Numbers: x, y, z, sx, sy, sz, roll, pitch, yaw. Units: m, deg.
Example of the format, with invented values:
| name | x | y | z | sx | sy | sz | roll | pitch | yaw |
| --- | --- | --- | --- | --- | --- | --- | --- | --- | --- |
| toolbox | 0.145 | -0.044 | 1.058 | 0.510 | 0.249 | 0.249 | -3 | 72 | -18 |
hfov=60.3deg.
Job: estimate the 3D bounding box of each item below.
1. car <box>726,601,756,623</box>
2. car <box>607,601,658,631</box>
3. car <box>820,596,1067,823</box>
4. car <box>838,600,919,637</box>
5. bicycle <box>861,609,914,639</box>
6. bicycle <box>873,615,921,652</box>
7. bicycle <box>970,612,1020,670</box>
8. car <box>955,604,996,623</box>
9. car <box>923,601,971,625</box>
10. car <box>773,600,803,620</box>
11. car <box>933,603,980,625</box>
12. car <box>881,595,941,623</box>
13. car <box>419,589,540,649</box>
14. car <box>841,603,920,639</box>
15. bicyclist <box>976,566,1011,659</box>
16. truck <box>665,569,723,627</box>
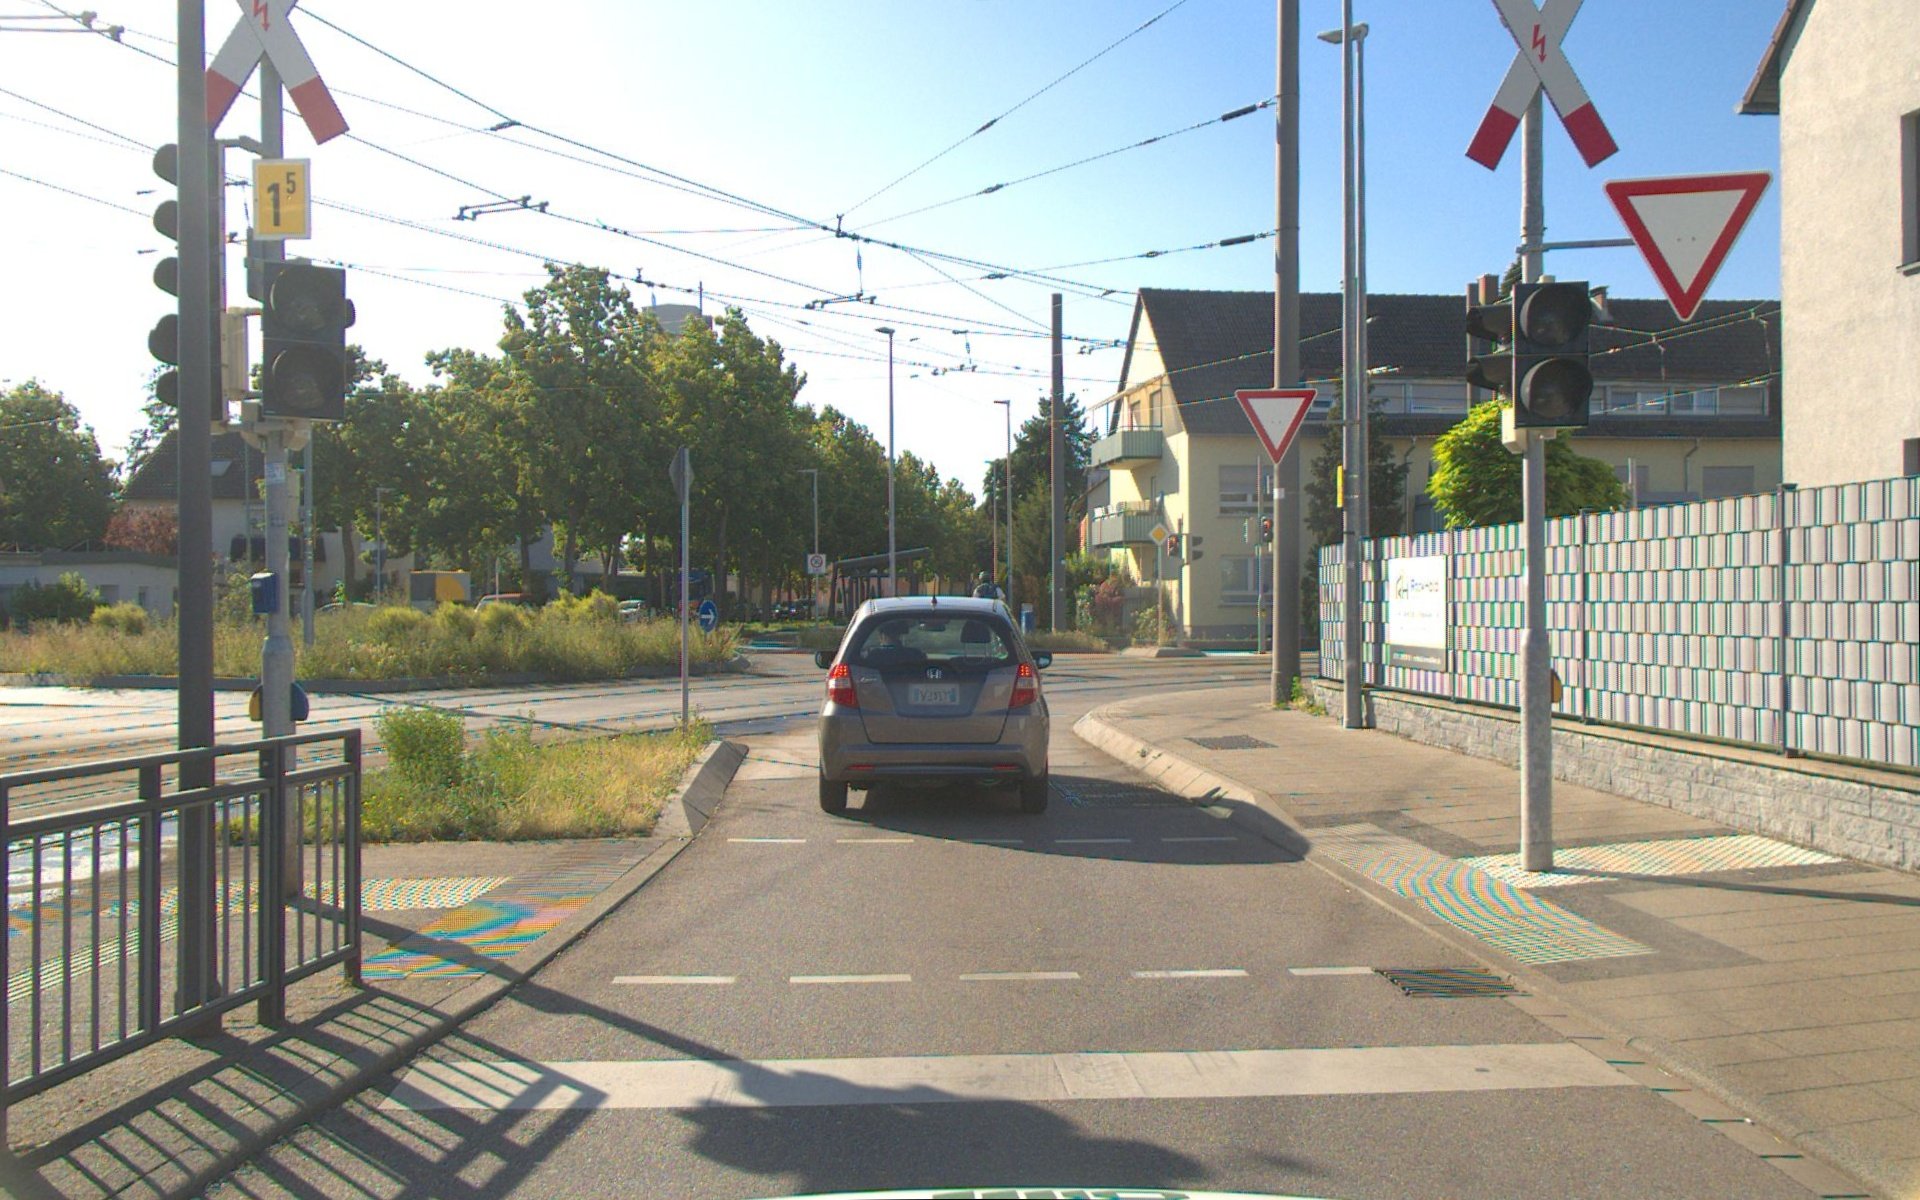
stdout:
| name | x | y | z | sx | sy | sz | roll | pitch | yaw |
| --- | --- | --- | --- | --- | --- | --- | --- | --- | --- |
| car | -17.640 | 0.937 | 133.296 | 1.953 | 1.729 | 4.217 | 1 | 0 | -1 |
| car | -20.508 | 0.978 | 103.729 | 1.952 | 1.804 | 5.062 | 1 | 0 | 3 |
| car | -0.137 | 0.732 | 13.090 | 1.653 | 1.517 | 3.913 | 0 | 0 | -1 |
| car | -3.572 | 0.814 | 72.849 | 3.445 | 1.560 | 1.577 | 1 | 0 | 0 |
| bicycle | -2.698 | 0.889 | 61.263 | 1.934 | 1.045 | 0.695 | 1 | 0 | -4 |
| bicycle | -2.195 | 1.168 | 57.587 | 1.633 | 1.229 | 0.688 | 1 | 0 | -4 |
| bicycle | 0.651 | 0.754 | 31.217 | 0.751 | 1.055 | 1.532 | 0 | 0 | -7 |
| car | 1.315 | 1.127 | 139.379 | 3.445 | 1.560 | 1.577 | 1 | 0 | -1 |
| car | -0.933 | 0.912 | 115.222 | 3.291 | 1.560 | 1.522 | 1 | 0 | -1 |
| car | -13.944 | 0.791 | 134.161 | 1.793 | 1.608 | 4.441 | 1 | 0 | 2 |
| car | -0.270 | 0.989 | 119.959 | 3.408 | 1.519 | 1.552 | 1 | 0 | -1 |
| car | -2.849 | 0.539 | 96.783 | 3.445 | 1.560 | 1.577 | 1 | 0 | 0 |
| car | -17.976 | 0.659 | 62.113 | 1.951 | 2.016 | 5.243 | -2 | 0 | 13 |
| car | -3.583 | 0.943 | 74.627 | 3.445 | 1.560 | 1.577 | 1 | 0 | 0 |
| bicyclist | 0.631 | 0.236 | 31.476 | 0.591 | 1.744 | 0.543 | -1 | -2 | -5 |
| truck | -19.444 | -0.176 | 121.431 | 3.007 | 4.063 | 8.007 | 1 | 0 | -1 |
